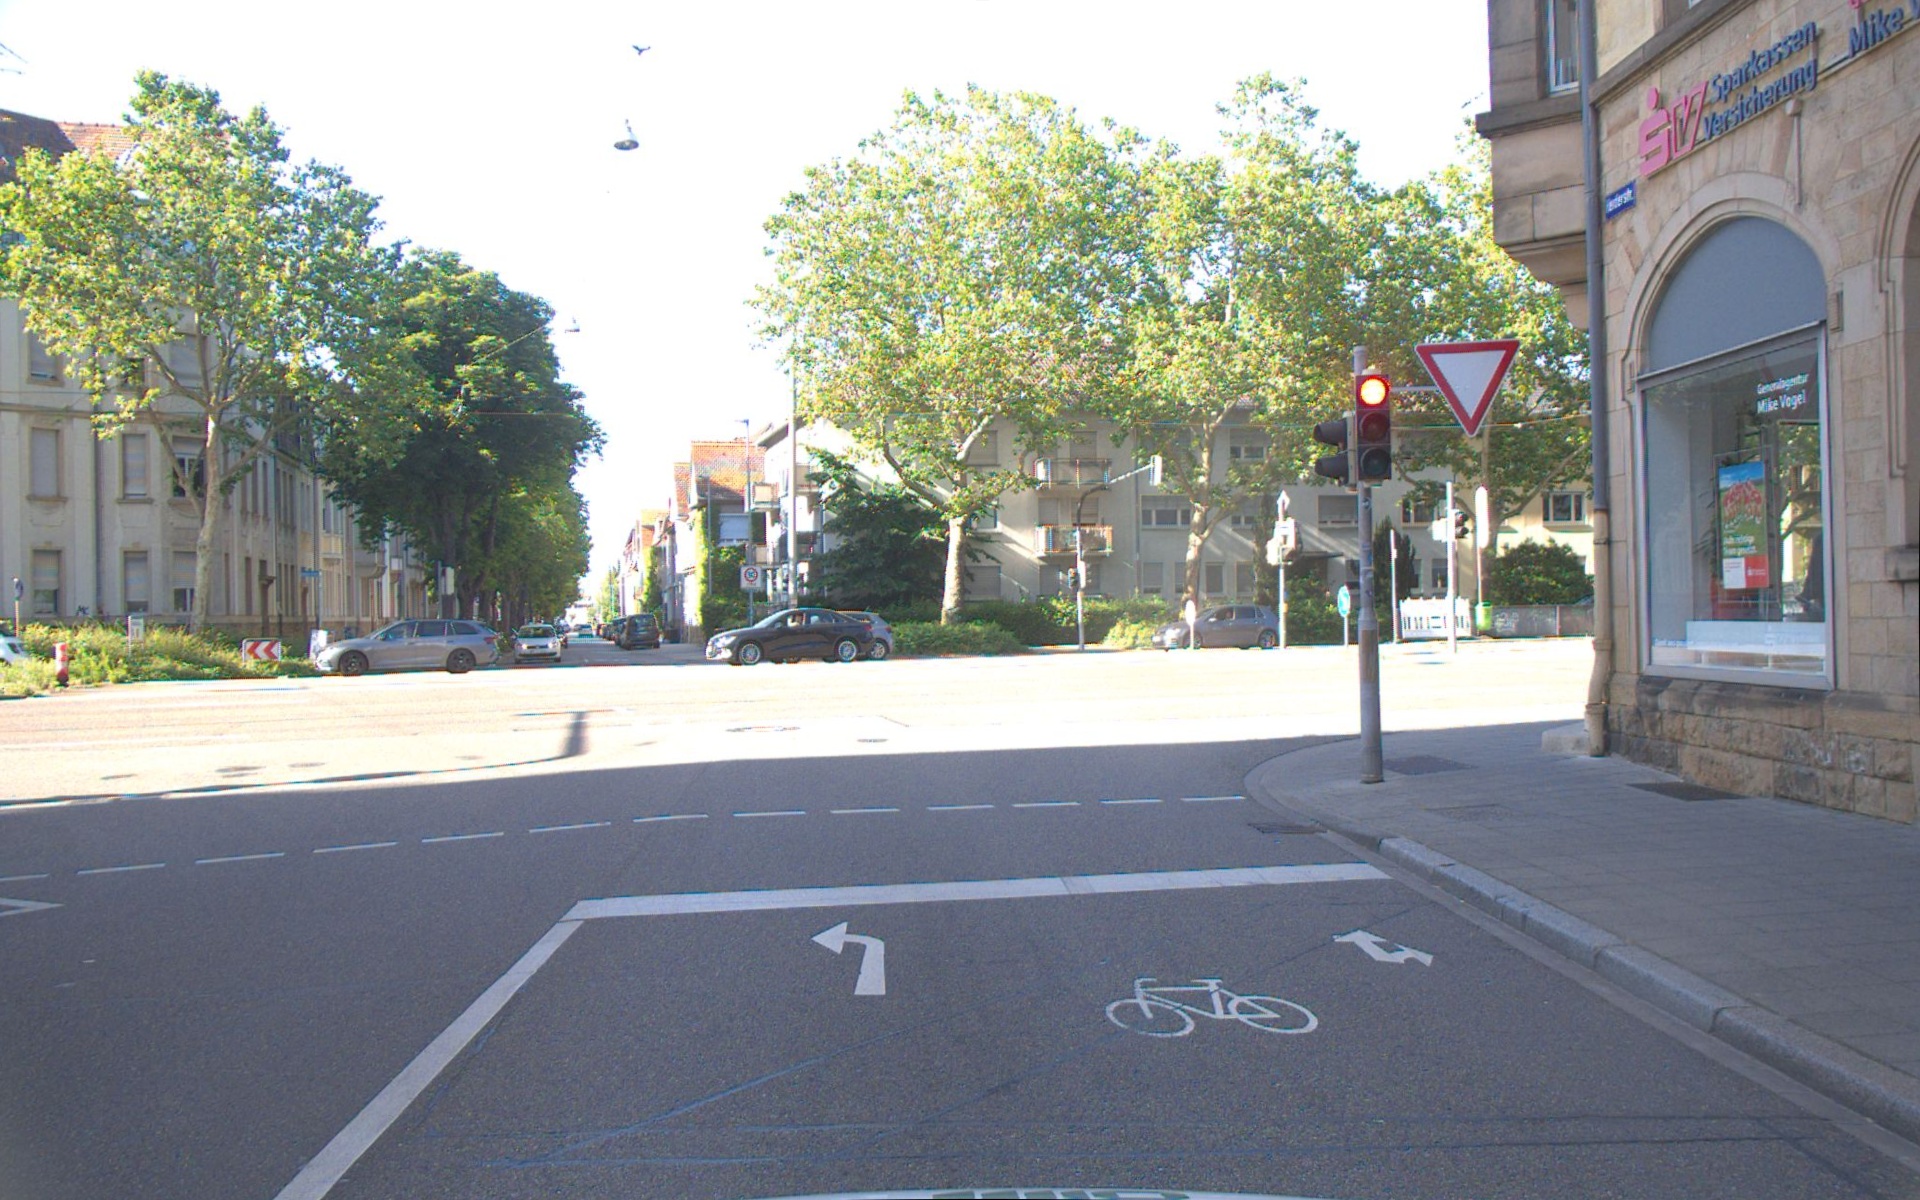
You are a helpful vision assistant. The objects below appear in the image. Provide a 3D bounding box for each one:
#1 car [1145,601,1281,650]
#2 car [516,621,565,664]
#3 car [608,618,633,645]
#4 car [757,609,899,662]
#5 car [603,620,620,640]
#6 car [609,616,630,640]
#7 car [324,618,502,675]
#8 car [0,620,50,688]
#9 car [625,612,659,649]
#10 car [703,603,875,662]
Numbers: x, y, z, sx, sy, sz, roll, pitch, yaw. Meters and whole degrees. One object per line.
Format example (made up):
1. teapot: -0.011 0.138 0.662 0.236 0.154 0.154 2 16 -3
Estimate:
1. car: 7.868 0.790 51.576 3.872 1.425 1.640 -1 0 -14
2. car: -16.351 1.641 64.553 1.669 1.509 3.523 -3 1 -12
3. car: -26.234 2.390 127.708 1.742 1.952 3.523 -3 0 -12
4. car: -3.773 0.992 47.242 3.728 1.425 1.635 -1 0 -22
5. car: -37.936 3.263 180.182 1.742 1.952 3.523 -3 0 -12
6. car: -30.046 2.457 145.934 1.742 1.952 3.523 -3 0 -12
7. car: -14.240 1.184 43.122 4.323 1.339 1.636 -1 0 -21
8. car: -22.453 1.219 36.868 3.579 1.483 1.494 -1 0 -21
9. car: -18.128 1.729 94.137 1.742 1.952 3.523 -3 0 -12
10. car: -4.476 0.837 43.347 4.207 1.425 1.635 -1 0 -22
